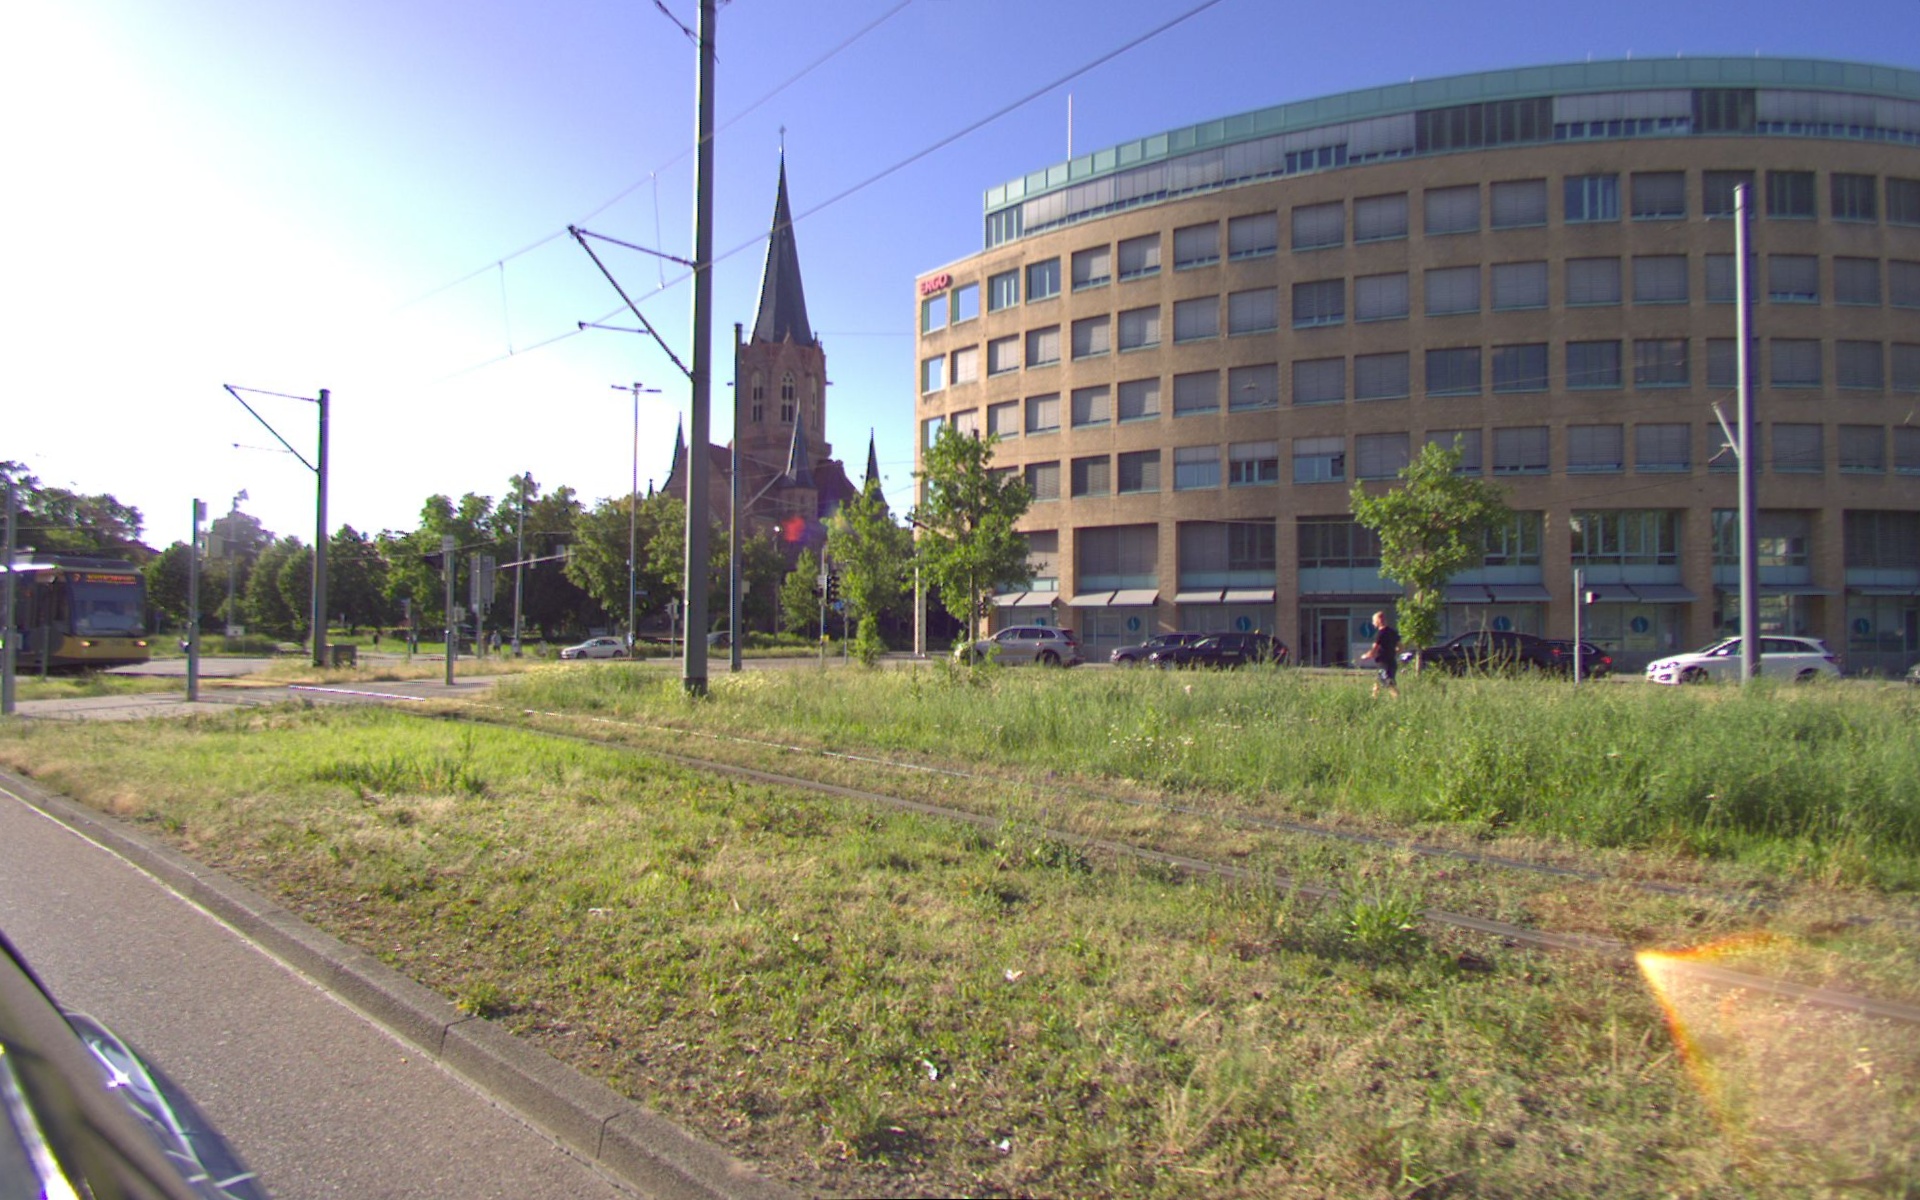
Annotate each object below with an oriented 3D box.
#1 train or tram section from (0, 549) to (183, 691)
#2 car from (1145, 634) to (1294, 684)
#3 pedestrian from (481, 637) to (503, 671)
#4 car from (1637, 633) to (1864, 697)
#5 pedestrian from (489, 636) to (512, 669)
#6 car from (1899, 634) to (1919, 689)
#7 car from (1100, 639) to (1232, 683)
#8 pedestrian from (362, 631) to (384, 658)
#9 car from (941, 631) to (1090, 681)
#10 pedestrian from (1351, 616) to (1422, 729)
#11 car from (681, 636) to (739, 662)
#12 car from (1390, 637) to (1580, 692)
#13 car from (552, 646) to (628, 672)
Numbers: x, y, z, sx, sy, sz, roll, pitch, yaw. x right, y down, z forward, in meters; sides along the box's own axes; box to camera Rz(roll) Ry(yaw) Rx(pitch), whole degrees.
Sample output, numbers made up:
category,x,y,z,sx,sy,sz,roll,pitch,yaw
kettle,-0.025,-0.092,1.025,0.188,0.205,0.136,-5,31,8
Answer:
category,x,y,z,sx,sy,sz,roll,pitch,yaw
train or tram section,-29.065,0.711,30.694,13.105,3.713,2.934,-2,-2,25
car,8.706,1.942,33.982,4.631,1.528,1.985,-1,0,23
pedestrian,-28.593,3.315,61.848,0.920,2.029,0.872,-1,-1,24
car,22.007,1.765,28.437,4.625,1.608,1.985,-1,0,22
pedestrian,-28.290,3.227,62.287,0.920,2.029,0.872,-1,-1,24
car,27.604,1.617,26.115,4.475,1.438,1.987,-1,0,19
car,8.703,2.520,42.790,5.178,1.681,2.108,-1,0,24
pedestrian,-41.131,3.091,70.895,1.107,1.860,0.839,-1,-1,21
car,2.040,2.020,37.017,5.051,1.747,2.091,-1,-2,22
pedestrian,6.600,1.098,15.668,0.724,1.684,0.746,1,-3,-40
car,-16.986,3.293,68.904,1.827,1.586,3.910,-1,0,25
car,15.937,1.924,31.004,4.993,1.458,1.982,-1,0,26
car,-25.486,4.042,69.881,1.768,1.586,4.649,-1,-1,41
